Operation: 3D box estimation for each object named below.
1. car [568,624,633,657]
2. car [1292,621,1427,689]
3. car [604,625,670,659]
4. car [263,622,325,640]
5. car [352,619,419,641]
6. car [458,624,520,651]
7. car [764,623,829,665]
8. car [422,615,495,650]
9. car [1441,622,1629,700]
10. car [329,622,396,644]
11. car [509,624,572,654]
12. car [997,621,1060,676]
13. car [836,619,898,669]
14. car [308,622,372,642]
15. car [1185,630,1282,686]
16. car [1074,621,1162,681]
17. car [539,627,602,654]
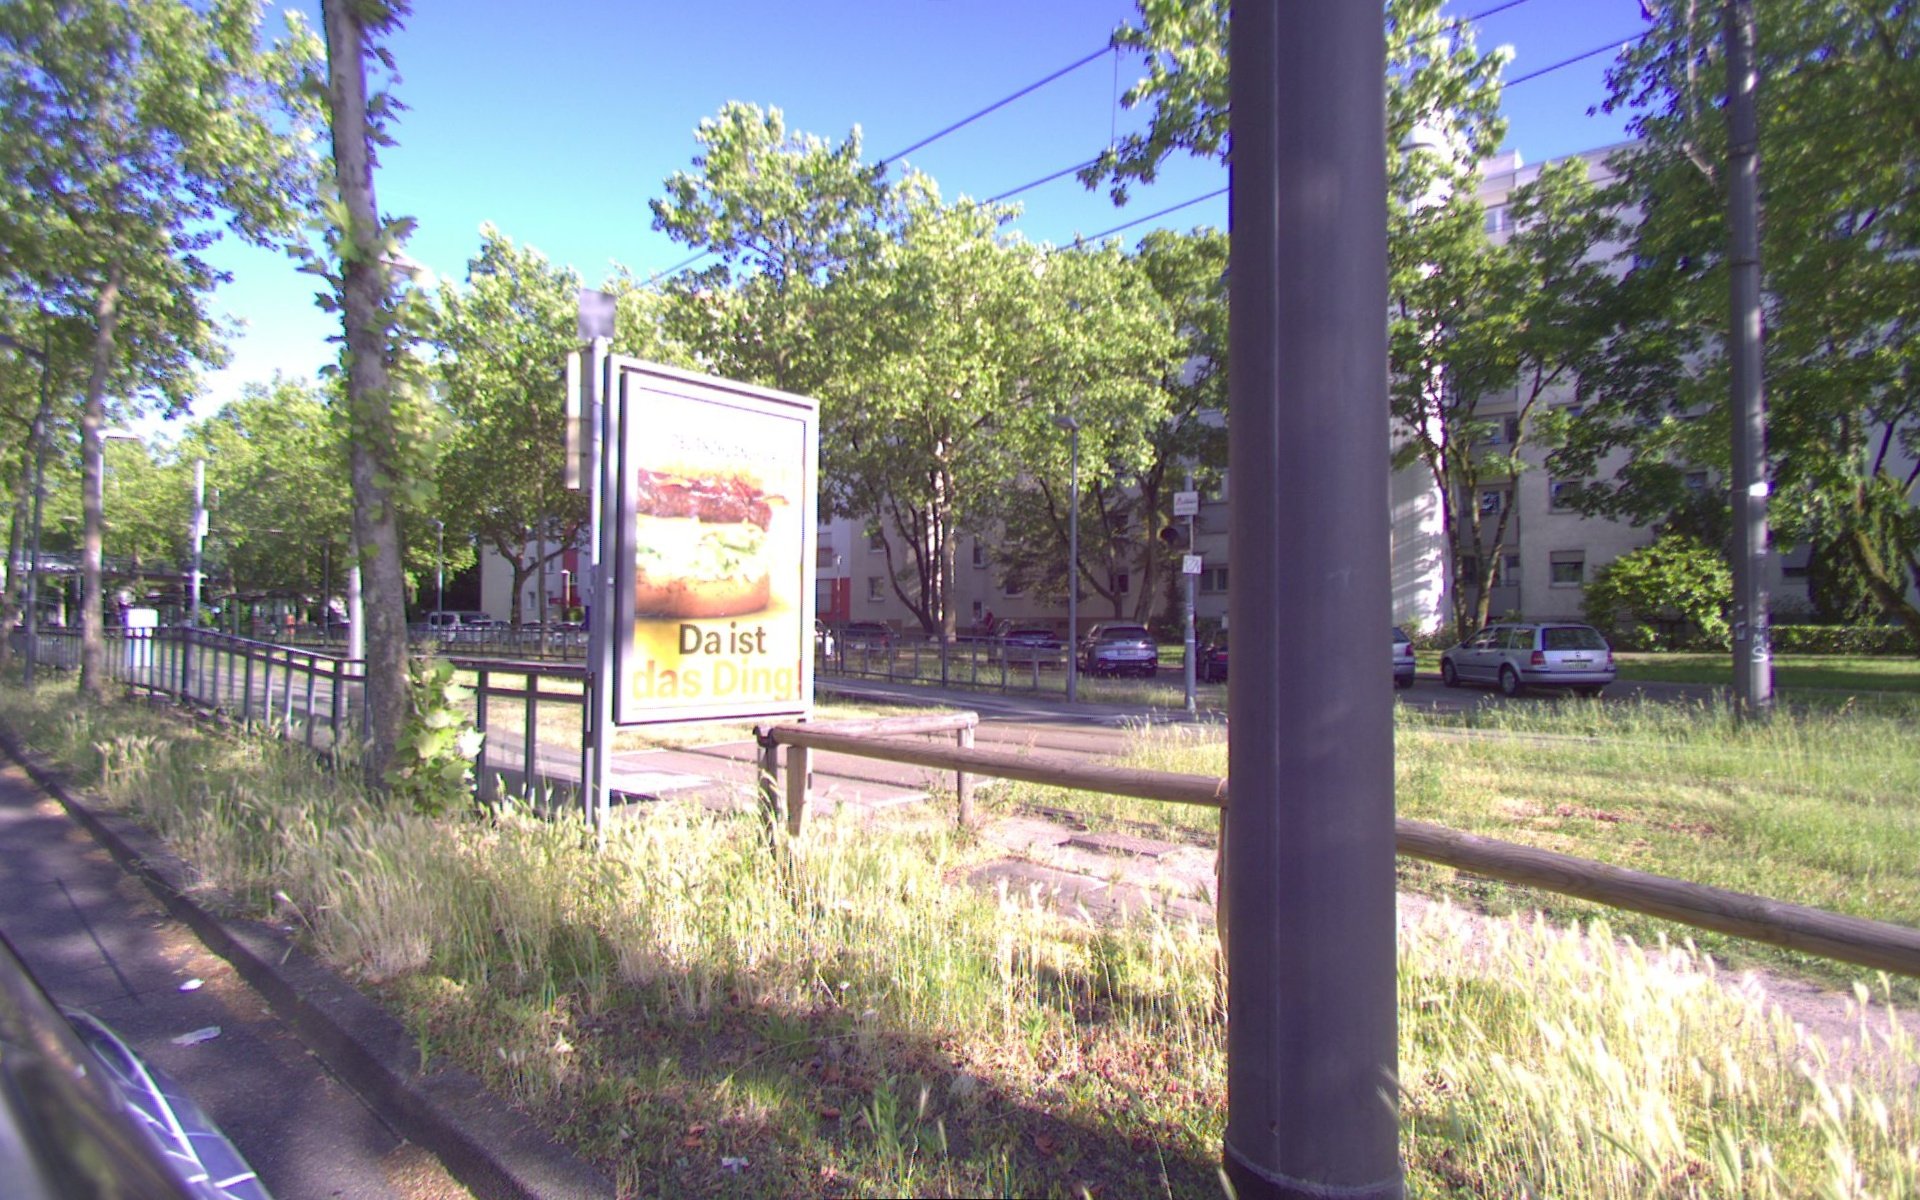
[{"bbox_3d":[-16.684,1.838,47.134,1.627,1.460,3.680,0,-1,1],"label":"car"},{"bbox_3d":[9.152,1.217,23.526,1.679,1.444,3.681,0,-1,1],"label":"car"},{"bbox_3d":[-14.084,1.815,44.279,1.627,1.403,3.679,0,-1,2],"label":"car"},{"bbox_3d":[-52.148,2.397,79.361,1.898,1.386,4.365,0,-1,1],"label":"car"},{"bbox_3d":[-37.750,1.952,66.632,1.898,1.386,4.365,0,-1,1],"label":"car"},{"bbox_3d":[-25.800,2.030,55.517,1.627,1.407,3.680,0,-1,1],"label":"car"},{"bbox_3d":[-5.910,1.568,36.917,1.664,1.444,3.679,0,-1,2],"label":"car"},{"bbox_3d":[-28.329,1.821,57.326,1.898,1.898,4.365,0,-1,1],"label":"car"},{"bbox_3d":[11.547,1.174,20.627,1.707,1.444,3.681,0,-1,1],"label":"car"},{"bbox_3d":[-40.285,2.198,68.389,1.898,1.386,4.365,0,-1,1],"label":"car"},{"bbox_3d":[-21.125,1.955,51.132,1.627,1.460,3.680,0,-1,1],"label":"car"},{"bbox_3d":[1.933,1.365,29.445,1.664,1.482,3.680,0,-1,1],"label":"car"},{"bbox_3d":[-3.109,1.455,34.467,1.664,1.579,3.679,0,-1,2],"label":"car"},{"bbox_3d":[-44.647,2.275,72.982,1.898,1.386,4.365,0,-1,1],"label":"car"},{"bbox_3d":[6.729,1.398,25.206,1.602,1.256,3.677,0,-1,4],"label":"car"},{"bbox_3d":[4.206,1.343,27.492,1.894,1.507,3.680,0,-1,2],"label":"car"},{"bbox_3d":[-19.048,1.976,49.664,1.627,1.251,3.680,0,-1,1],"label":"car"}]
